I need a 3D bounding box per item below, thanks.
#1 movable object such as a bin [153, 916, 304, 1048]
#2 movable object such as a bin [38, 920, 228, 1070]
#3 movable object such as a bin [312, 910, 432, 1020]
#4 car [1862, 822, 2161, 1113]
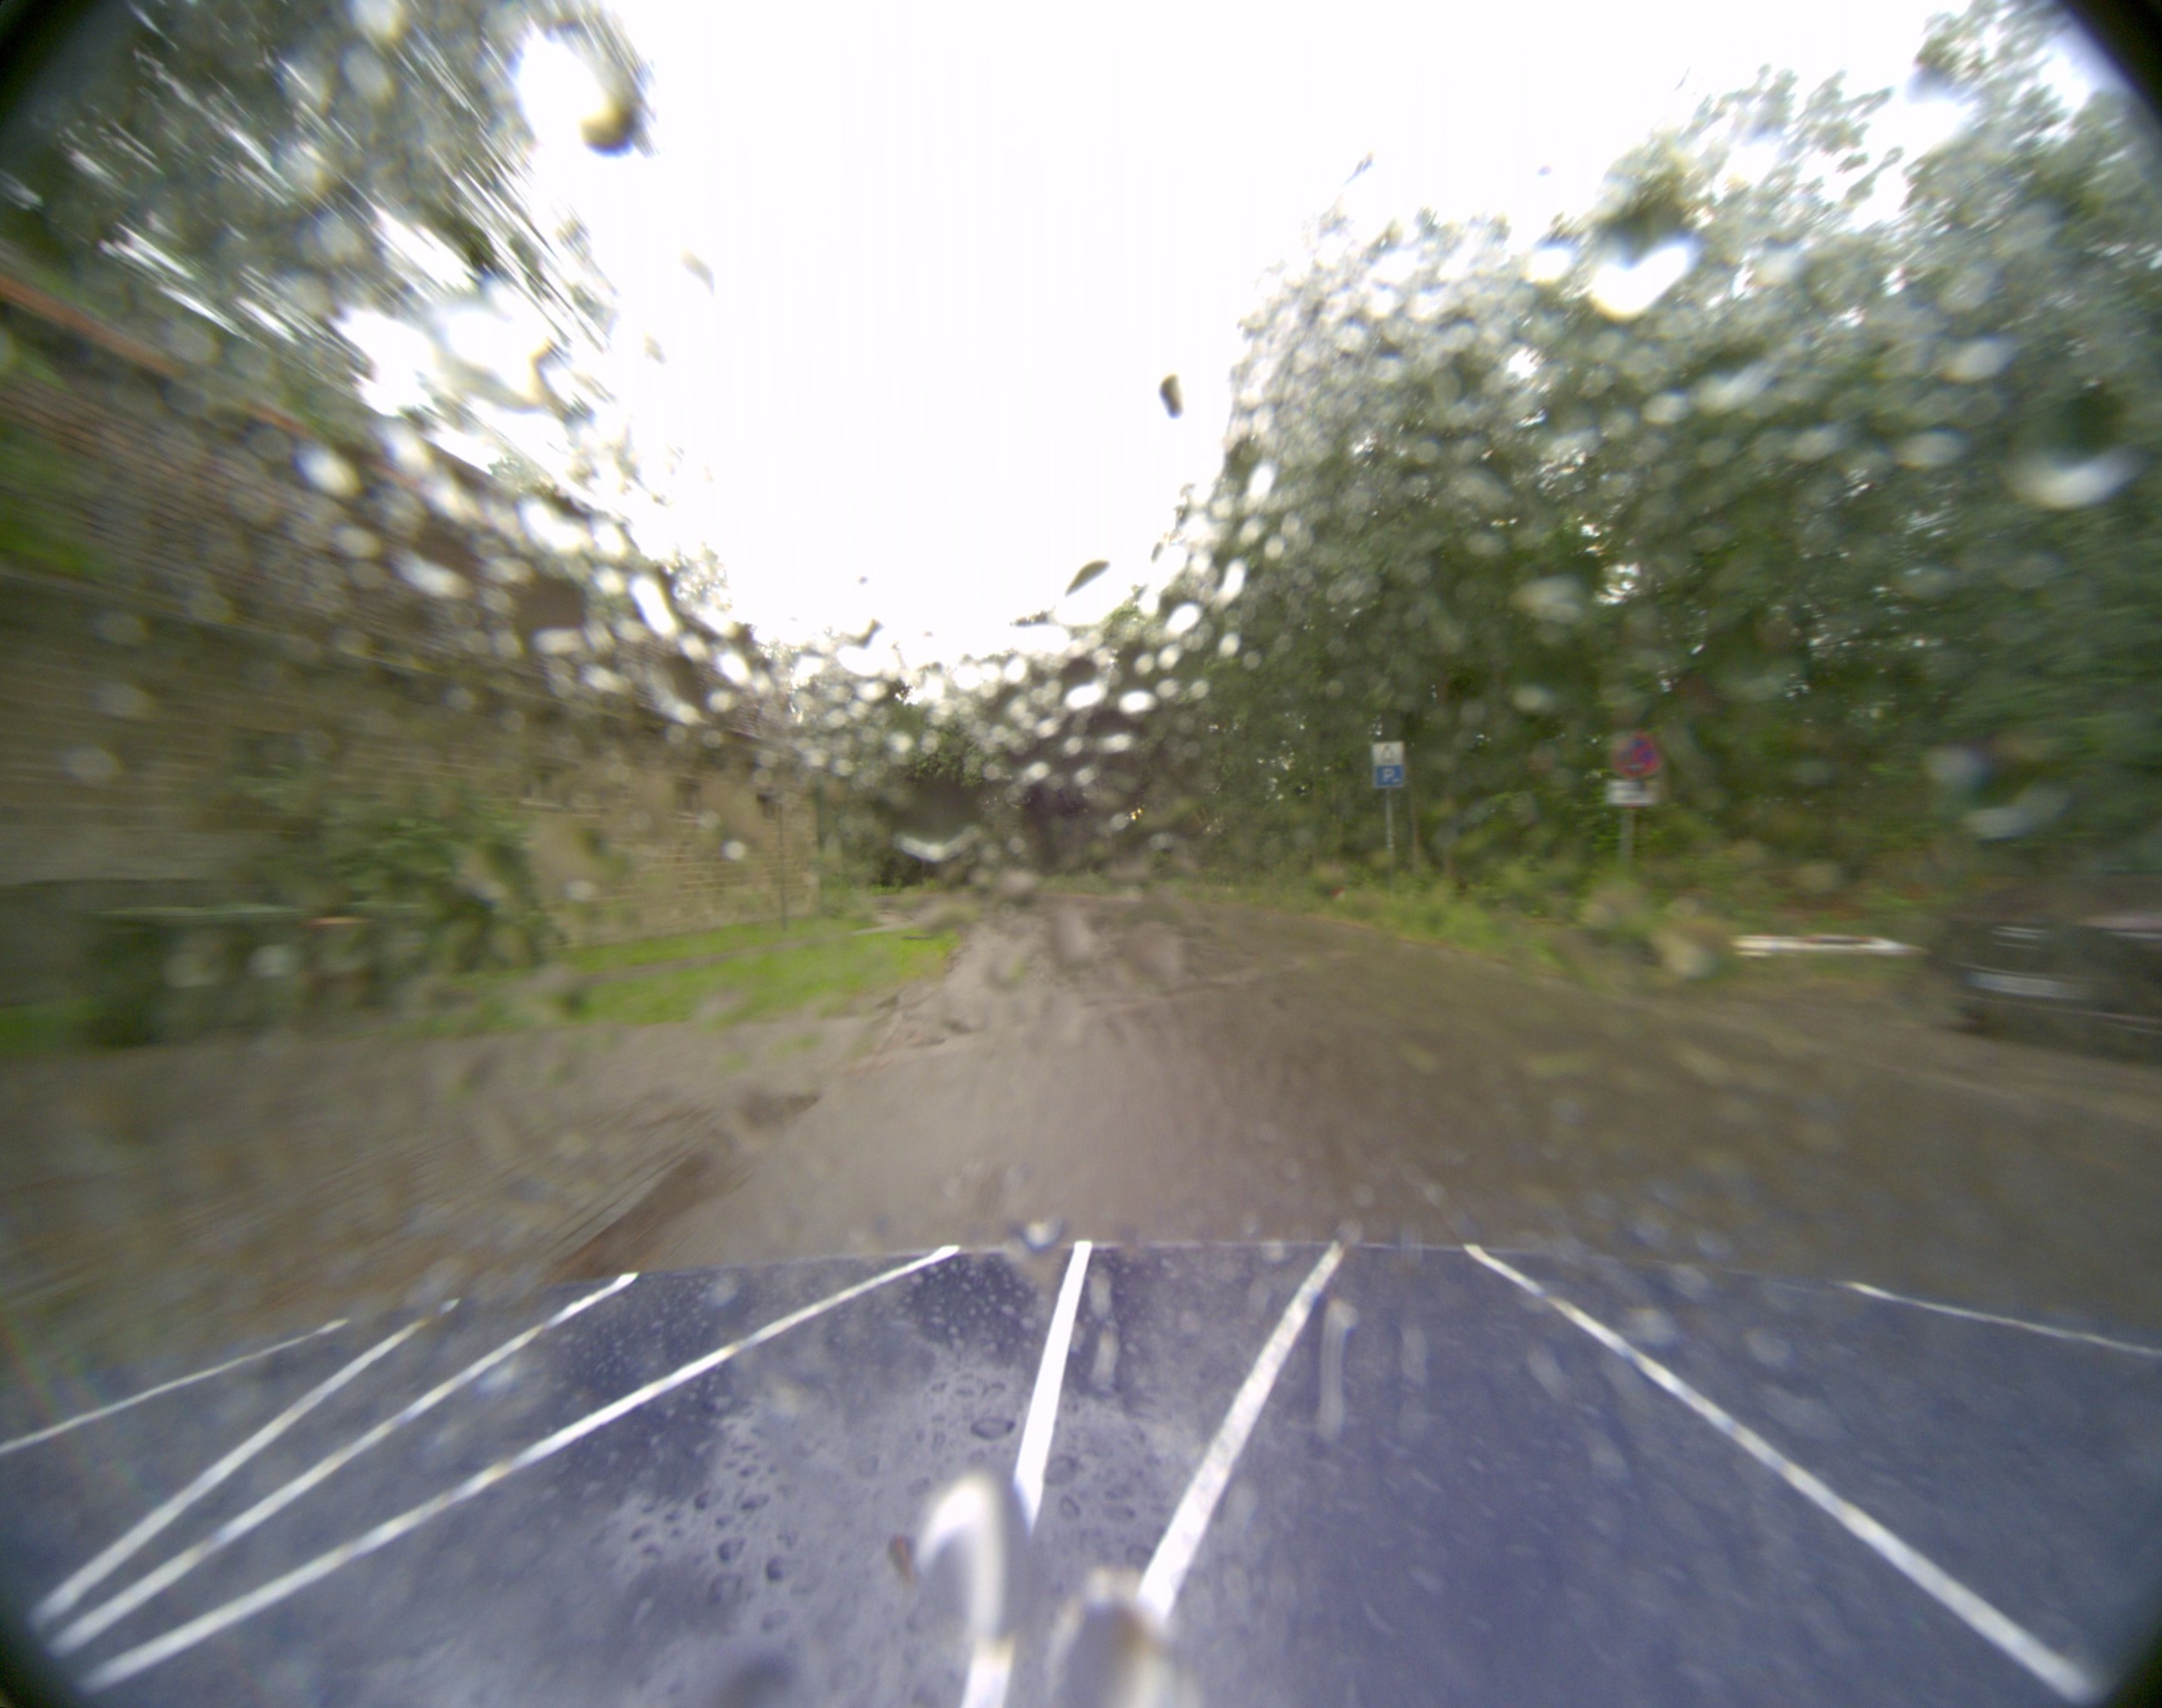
[{"bbox_3d":[-7.663,1.122,6.850,0.697,1.033,0.576,4,1,8],"label":"movable object such as a bin"},{"bbox_3d":[-7.601,1.100,6.121,0.697,1.033,0.661,4,1,8],"label":"movable object such as a bin"},{"bbox_3d":[-7.535,1.157,8.093,0.697,1.033,0.576,4,1,8],"label":"movable object such as a bin"},{"bbox_3d":[8.768,0.565,5.252,4.838,1.667,1.876,-4,0,-2],"label":"car"}]
